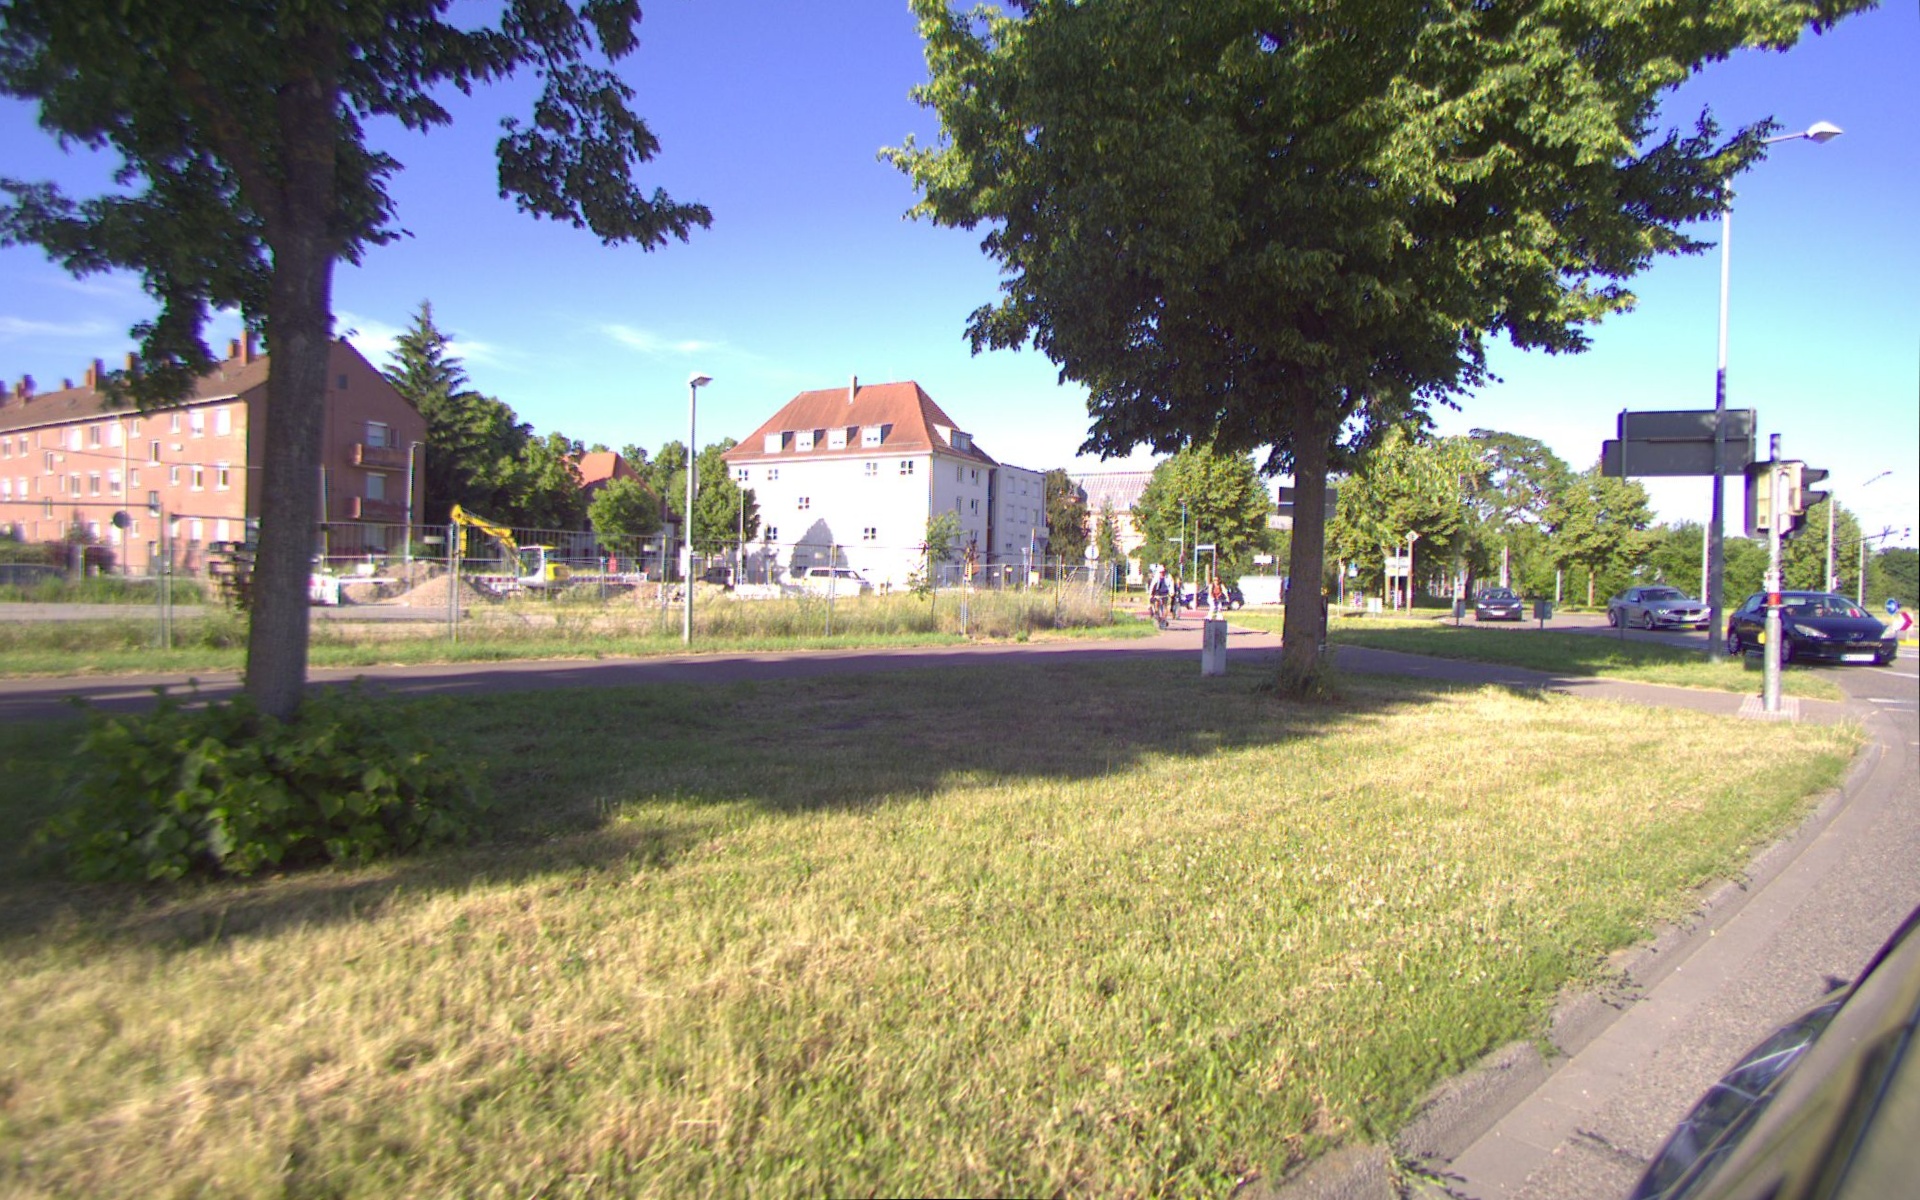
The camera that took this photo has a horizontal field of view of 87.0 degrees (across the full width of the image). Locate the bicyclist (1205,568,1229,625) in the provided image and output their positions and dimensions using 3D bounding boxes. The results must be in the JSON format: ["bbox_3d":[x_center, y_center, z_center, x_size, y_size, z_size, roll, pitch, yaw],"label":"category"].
[{"bbox_3d":[6.956,-0.102,27.353,0.499,1.491,0.828,1,1,22],"label":"bicyclist"}]

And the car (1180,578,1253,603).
[{"bbox_3d":[15.055,-0.548,59.530,3.933,1.394,1.754,0,2,8],"label":"car"}]

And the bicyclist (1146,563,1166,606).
[{"bbox_3d":[7.284,-0.588,37.653,0.582,1.606,0.966,0,2,1],"label":"bicyclist"}]

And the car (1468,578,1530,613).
[{"bbox_3d":[23.435,-0.238,44.162,1.827,1.445,3.922,1,2,20],"label":"car"}]

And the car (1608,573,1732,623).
[{"bbox_3d":[24.591,-0.090,35.261,1.821,1.589,4.513,-1,0,12],"label":"car"}]

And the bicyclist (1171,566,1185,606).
[{"bbox_3d":[8.435,-0.553,39.171,0.464,1.504,0.914,0,2,7],"label":"bicyclist"}]

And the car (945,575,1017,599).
[{"bbox_3d":[1.349,-0.856,63.897,4.220,1.445,1.840,0,2,19],"label":"car"}]

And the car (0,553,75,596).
[{"bbox_3d":[-35.929,-0.974,38.099,3.839,1.576,1.998,0,2,-40],"label":"car"}]

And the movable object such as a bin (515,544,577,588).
[{"bbox_3d":[-19.727,-1.638,48.288,2.034,2.038,1.996,0,2,9],"label":"movable object such as a bin"}]

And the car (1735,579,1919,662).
[{"bbox_3d":[18.294,0.350,21.468,1.742,1.534,3.925,0,2,19],"label":"car"}]

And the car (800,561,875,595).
[{"bbox_3d":[-7.731,-1.416,63.854,4.434,2.038,1.980,2,2,30],"label":"car"}]

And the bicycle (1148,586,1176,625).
[{"bbox_3d":[5.640,0.126,28.308,0.646,1.025,1.816,1,1,9],"label":"bicycle"}]

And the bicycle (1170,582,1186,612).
[{"bbox_3d":[8.442,-0.128,39.208,0.471,1.095,1.641,0,2,7],"label":"bicycle"}]

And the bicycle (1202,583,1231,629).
[{"bbox_3d":[6.909,0.140,27.257,0.501,1.166,1.593,2,2,23],"label":"bicycle"}]

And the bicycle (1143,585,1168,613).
[{"bbox_3d":[7.286,-0.041,37.733,0.582,0.972,1.900,0,2,1],"label":"bicycle"}]

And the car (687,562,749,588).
[{"bbox_3d":[-17.845,-1.858,74.586,4.219,1.807,1.879,2,1,25],"label":"car"}]

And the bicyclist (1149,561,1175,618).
[{"bbox_3d":[5.665,-0.302,28.369,0.644,1.572,0.793,1,1,8],"label":"bicyclist"}]

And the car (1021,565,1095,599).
[{"bbox_3d":[5.337,-0.993,55.211,3.542,1.772,2.000,2,2,35],"label":"car"}]
